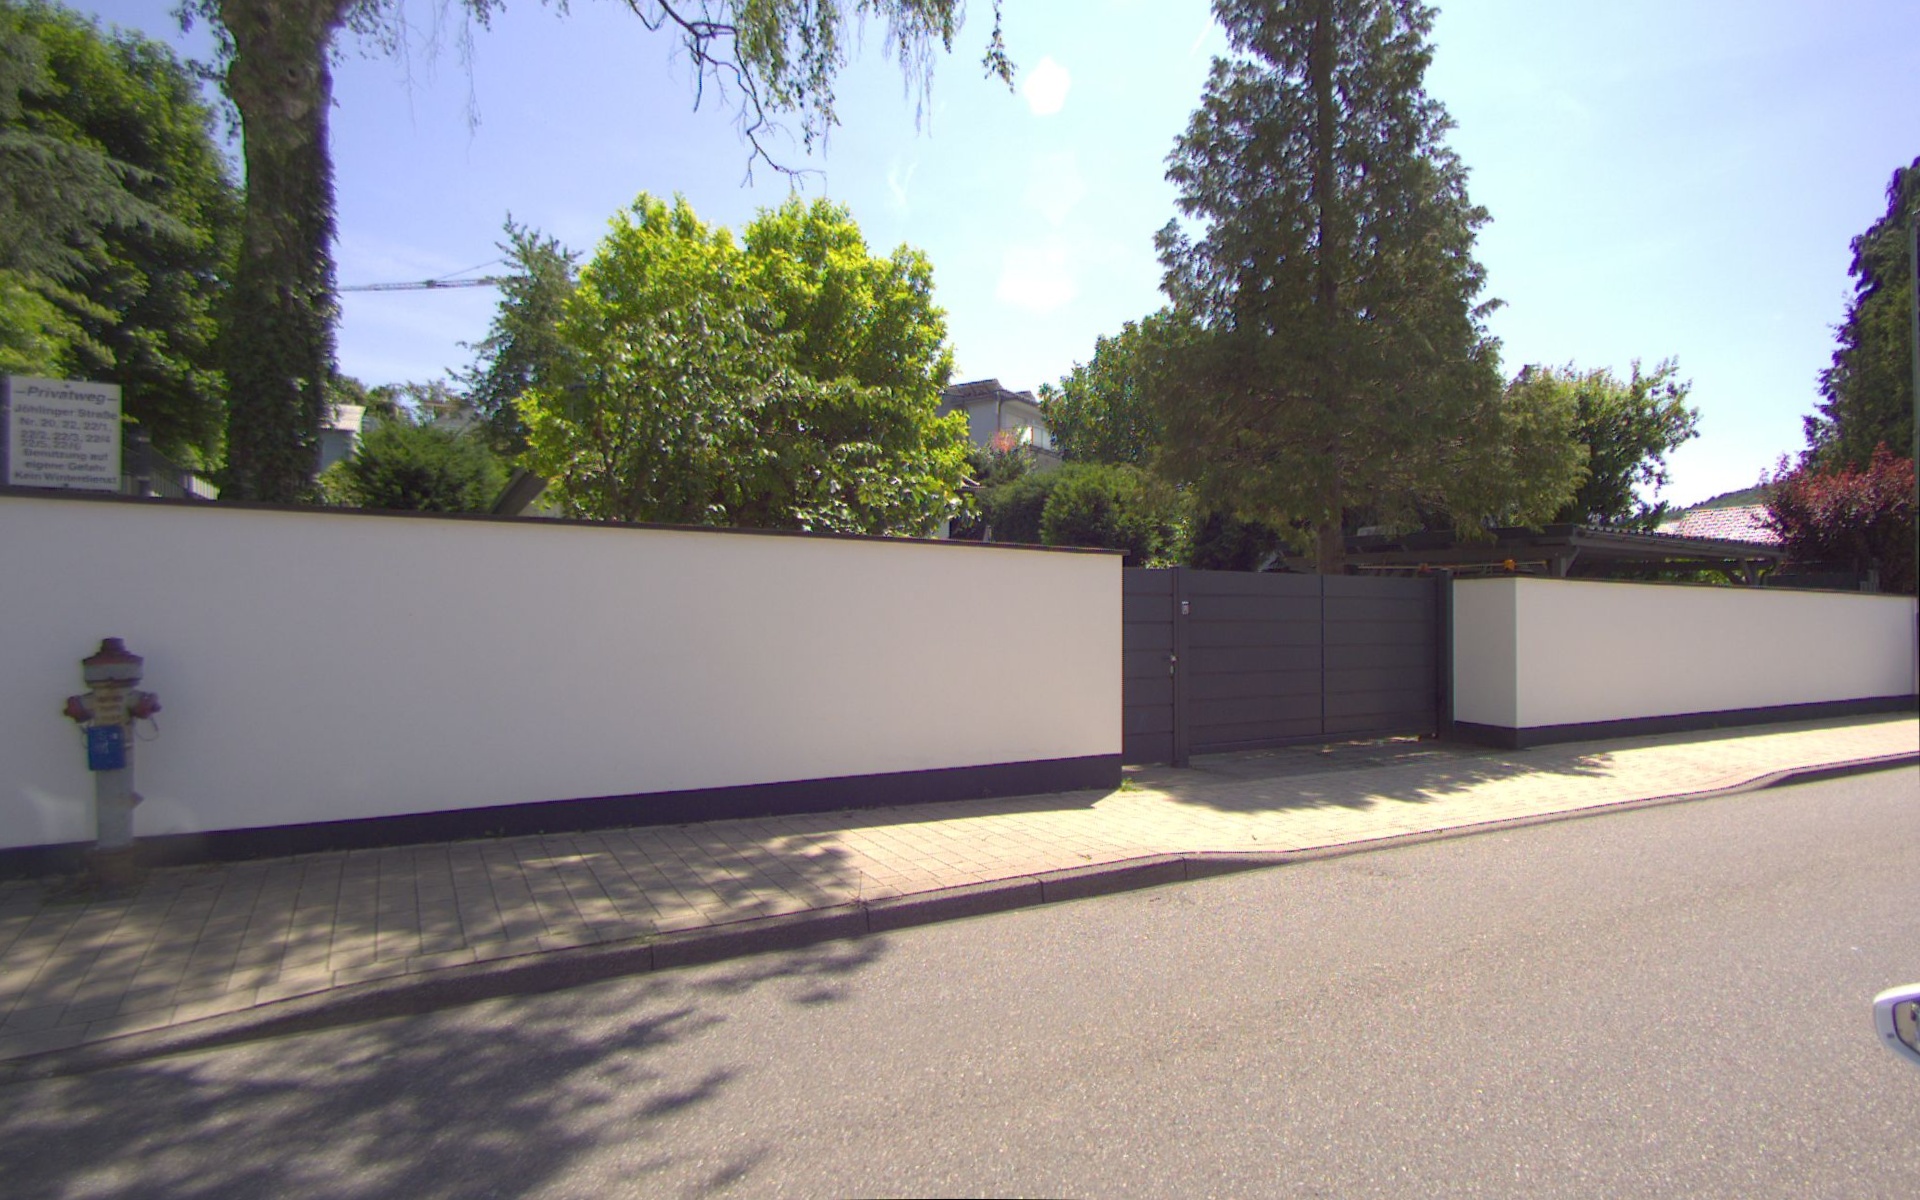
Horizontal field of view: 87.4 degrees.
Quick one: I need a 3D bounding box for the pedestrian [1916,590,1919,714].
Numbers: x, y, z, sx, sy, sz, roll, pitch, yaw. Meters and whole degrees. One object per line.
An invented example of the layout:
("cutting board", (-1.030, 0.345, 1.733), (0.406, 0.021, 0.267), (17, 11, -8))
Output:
("pedestrian", (15.720, 0.803, 15.832), (0.795, 2.040, 0.717), (2, 0, -31))
